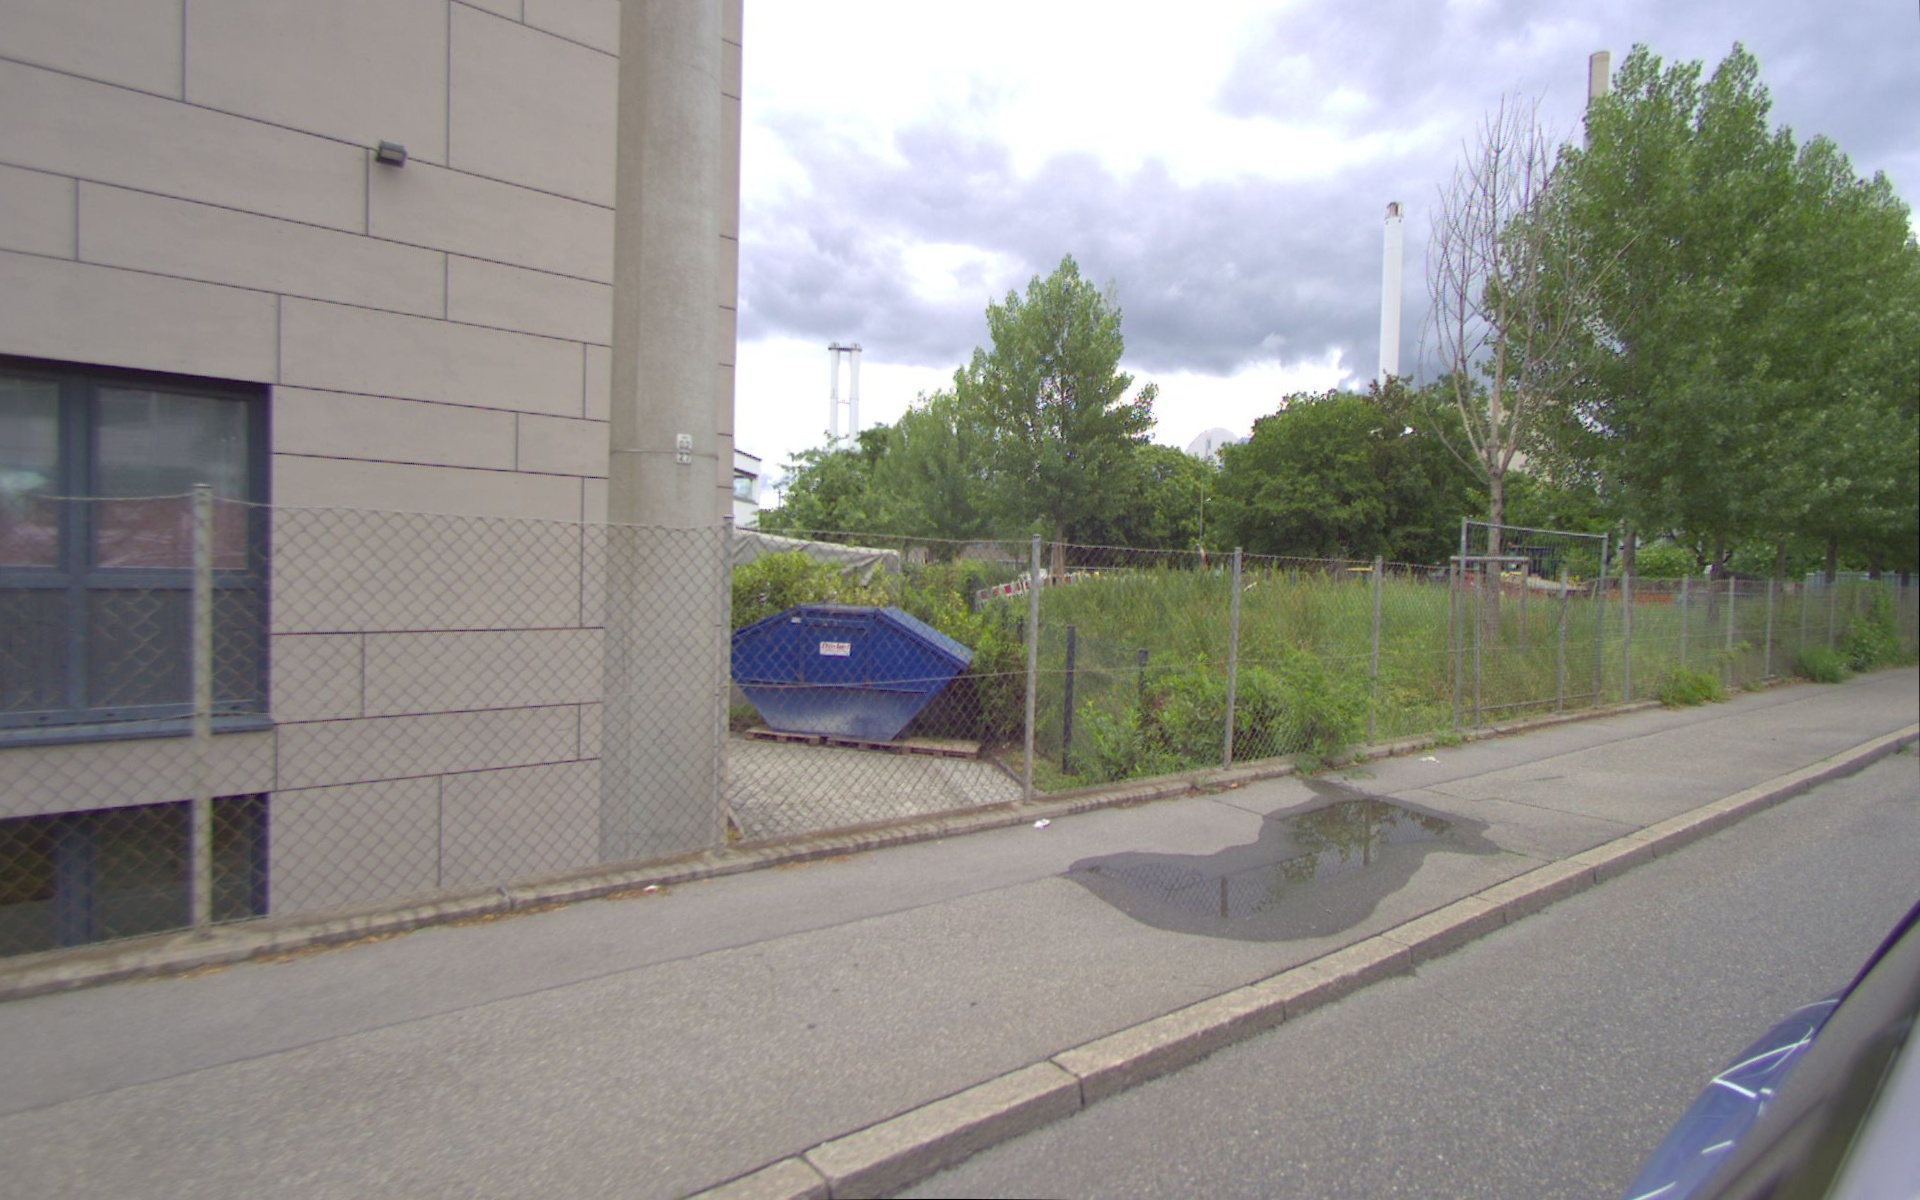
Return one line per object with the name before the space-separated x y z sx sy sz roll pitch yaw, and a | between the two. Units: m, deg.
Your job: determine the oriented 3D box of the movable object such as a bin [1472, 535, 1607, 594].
movable object such as a bin | 22.017 -1.387 38.528 4.205 2.037 2.005 -3 4 -13
